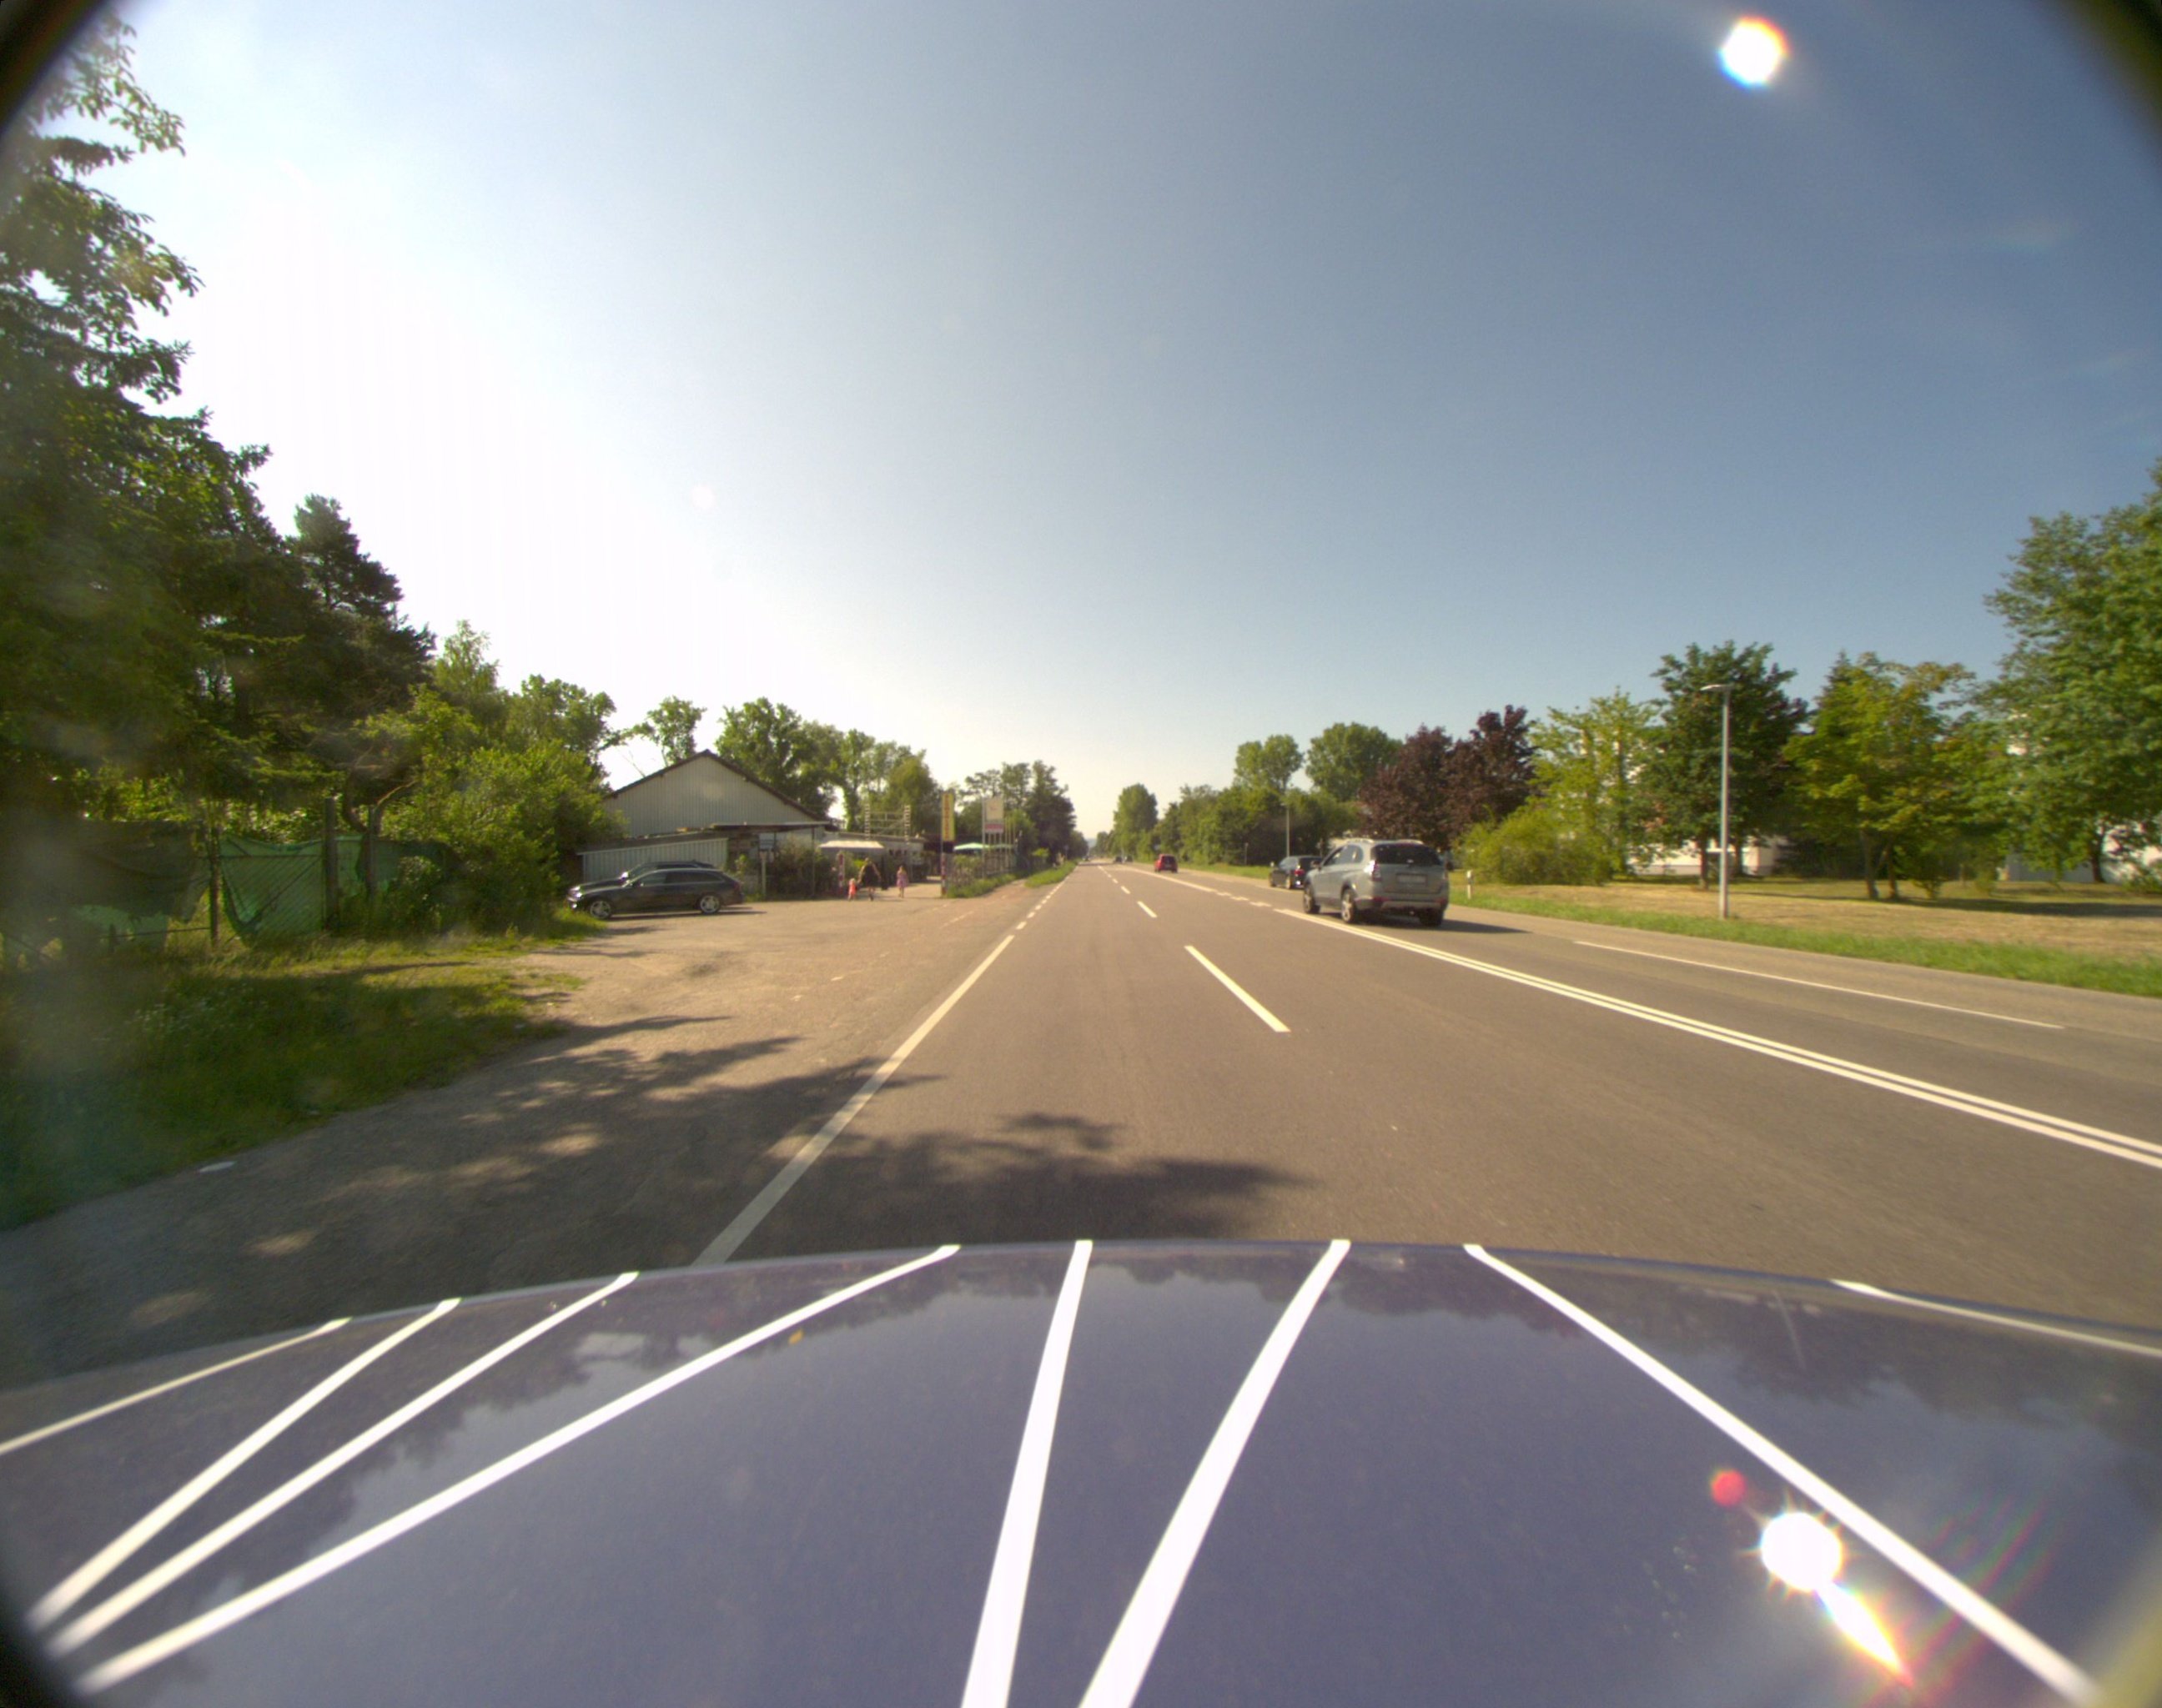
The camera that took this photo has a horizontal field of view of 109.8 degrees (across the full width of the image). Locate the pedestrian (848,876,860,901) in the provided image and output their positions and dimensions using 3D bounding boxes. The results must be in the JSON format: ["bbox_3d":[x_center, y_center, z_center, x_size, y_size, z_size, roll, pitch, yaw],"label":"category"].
[{"bbox_3d":[-9.174,1.407,30.733,0.471,0.978,0.338,-1,1,-16],"label":"pedestrian"}]

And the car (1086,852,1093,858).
[{"bbox_3d":[2.217,0.267,195.929,1.768,1.403,4.001,0,-1,1],"label":"car"}]

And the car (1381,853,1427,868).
[{"bbox_3d":[29.338,0.623,68.990,4.006,1.362,1.818,0,-1,-29],"label":"car"}]

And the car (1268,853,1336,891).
[{"bbox_3d":[9.736,0.745,33.848,1.656,1.472,4.740,2,0,0],"label":"car"}]

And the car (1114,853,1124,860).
[{"bbox_3d":[7.828,0.446,156.665,1.768,1.403,4.174,0,-1,1],"label":"car"}]

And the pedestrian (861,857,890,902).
[{"bbox_3d":[-8.372,1.014,30.984,1.101,1.775,0.935,-1,1,-16],"label":"pedestrian"}]

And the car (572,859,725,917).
[{"bbox_3d":[-14.894,1.110,26.398,4.470,1.792,1.860,-1,0,-28],"label":"car"}]

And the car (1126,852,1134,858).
[{"bbox_3d":[10.986,0.279,170.710,1.768,1.403,4.001,0,-1,1],"label":"car"}]

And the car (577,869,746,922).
[{"bbox_3d":[-12.974,1.239,23.748,4.470,1.422,1.711,-1,0,-28],"label":"car"}]

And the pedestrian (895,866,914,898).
[{"bbox_3d":[-7.548,1.184,32.542,0.725,1.330,0.824,-1,1,-16],"label":"pedestrian"}]

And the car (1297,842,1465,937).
[{"bbox_3d":[6.179,0.652,16.310,1.776,1.704,4.569,2,0,0],"label":"car"}]

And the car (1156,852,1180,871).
[{"bbox_3d":[7.385,0.609,64.790,1.654,1.489,3.844,2,0,0],"label":"car"}]
